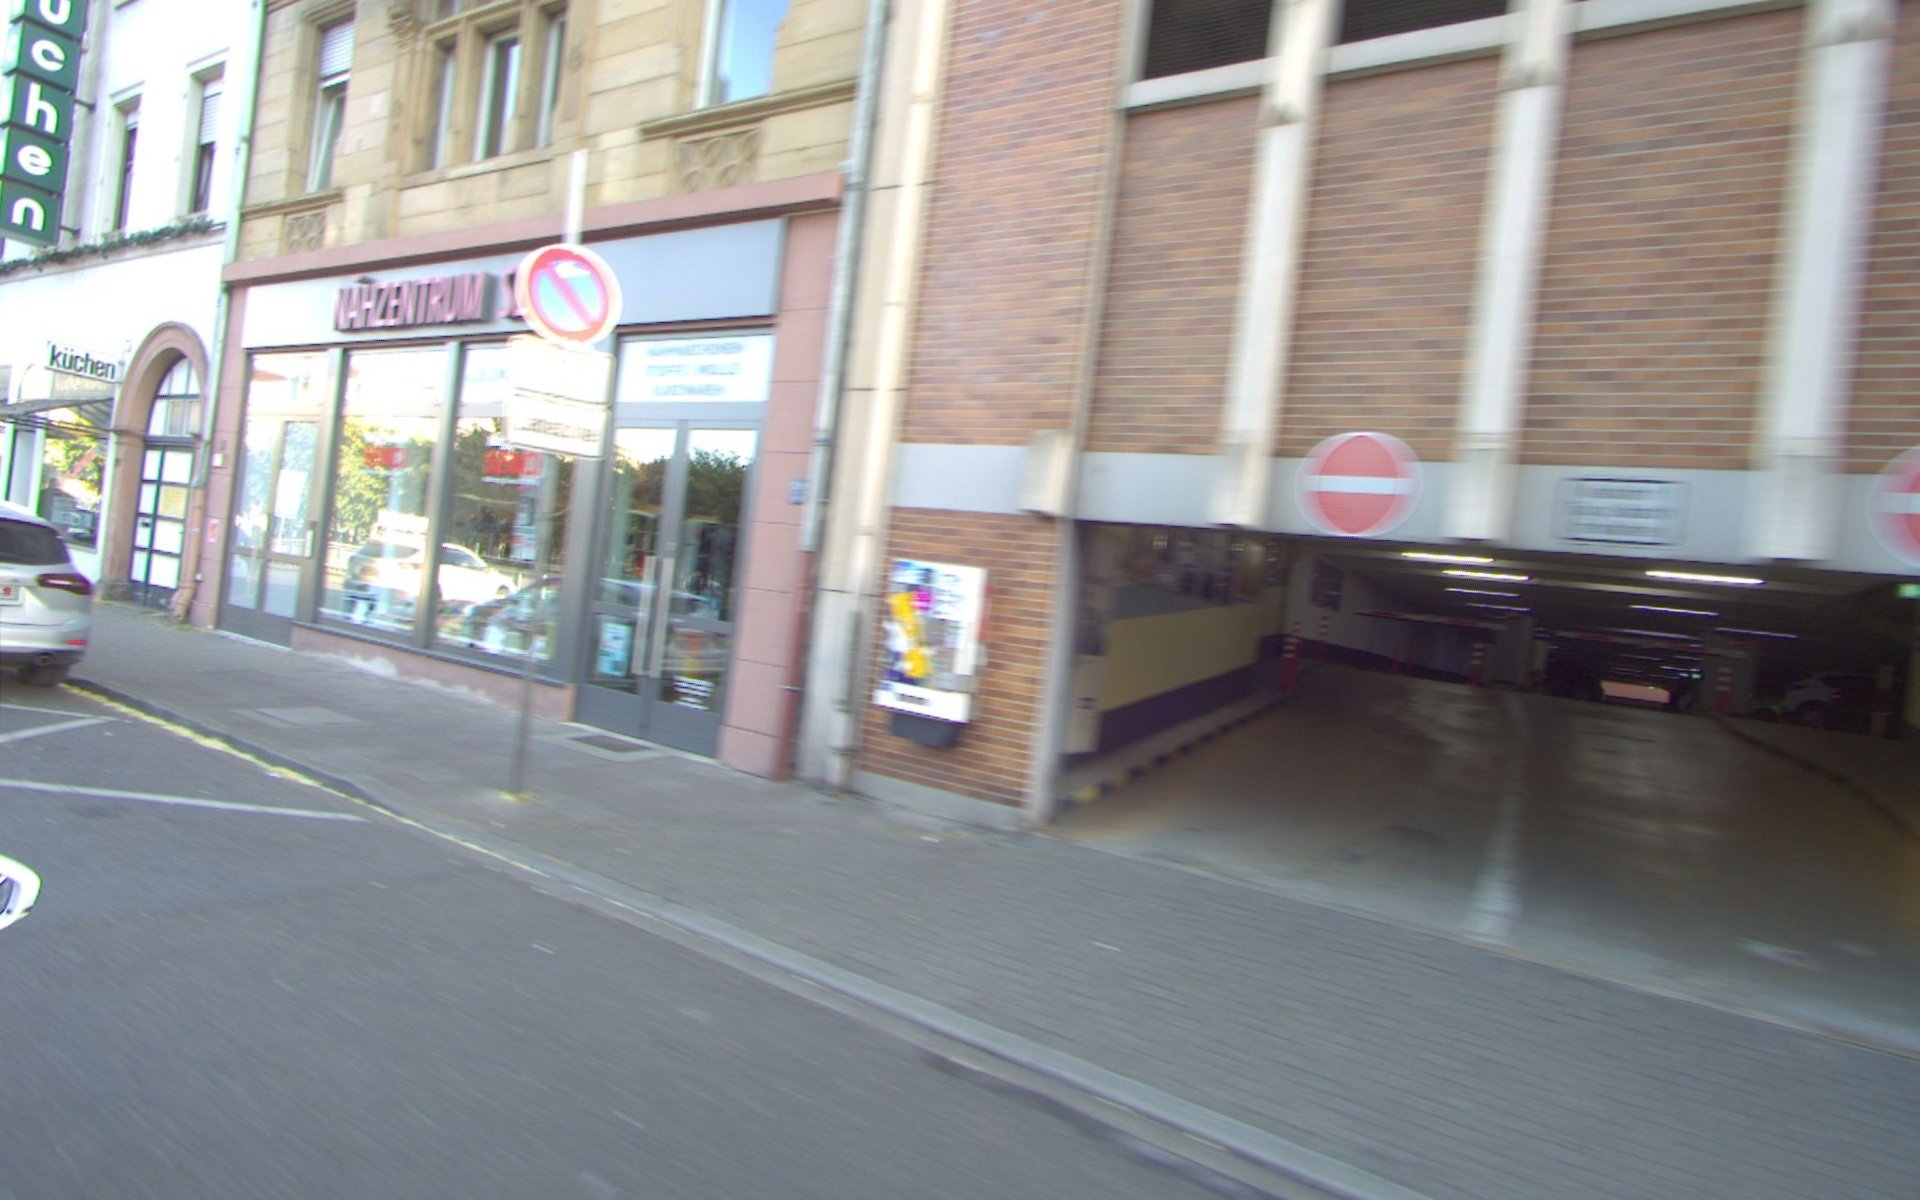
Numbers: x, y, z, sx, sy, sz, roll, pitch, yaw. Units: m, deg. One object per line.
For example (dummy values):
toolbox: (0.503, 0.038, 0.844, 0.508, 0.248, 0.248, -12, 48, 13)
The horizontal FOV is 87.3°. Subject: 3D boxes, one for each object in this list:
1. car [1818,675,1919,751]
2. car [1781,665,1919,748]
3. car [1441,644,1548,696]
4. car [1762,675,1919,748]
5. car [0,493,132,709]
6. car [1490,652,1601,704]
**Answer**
car: (21.413, 2.646, 21.820, 1.815, 1.414, 3.953, 8, -1, -42)
car: (22.697, 2.695, 24.418, 1.815, 1.620, 3.953, 8, -1, -42)
car: (21.429, 2.764, 40.500, 1.794, 1.620, 3.998, 8, -1, -4)
car: (27.419, 3.436, 30.948, 1.815, 1.620, 3.953, 8, -1, -42)
car: (-9.141, -0.240, 8.382, 4.740, 1.553, 1.764, 6, -3, 30)
car: (23.412, 3.078, 40.415, 1.794, 1.620, 3.998, 8, -1, -4)
